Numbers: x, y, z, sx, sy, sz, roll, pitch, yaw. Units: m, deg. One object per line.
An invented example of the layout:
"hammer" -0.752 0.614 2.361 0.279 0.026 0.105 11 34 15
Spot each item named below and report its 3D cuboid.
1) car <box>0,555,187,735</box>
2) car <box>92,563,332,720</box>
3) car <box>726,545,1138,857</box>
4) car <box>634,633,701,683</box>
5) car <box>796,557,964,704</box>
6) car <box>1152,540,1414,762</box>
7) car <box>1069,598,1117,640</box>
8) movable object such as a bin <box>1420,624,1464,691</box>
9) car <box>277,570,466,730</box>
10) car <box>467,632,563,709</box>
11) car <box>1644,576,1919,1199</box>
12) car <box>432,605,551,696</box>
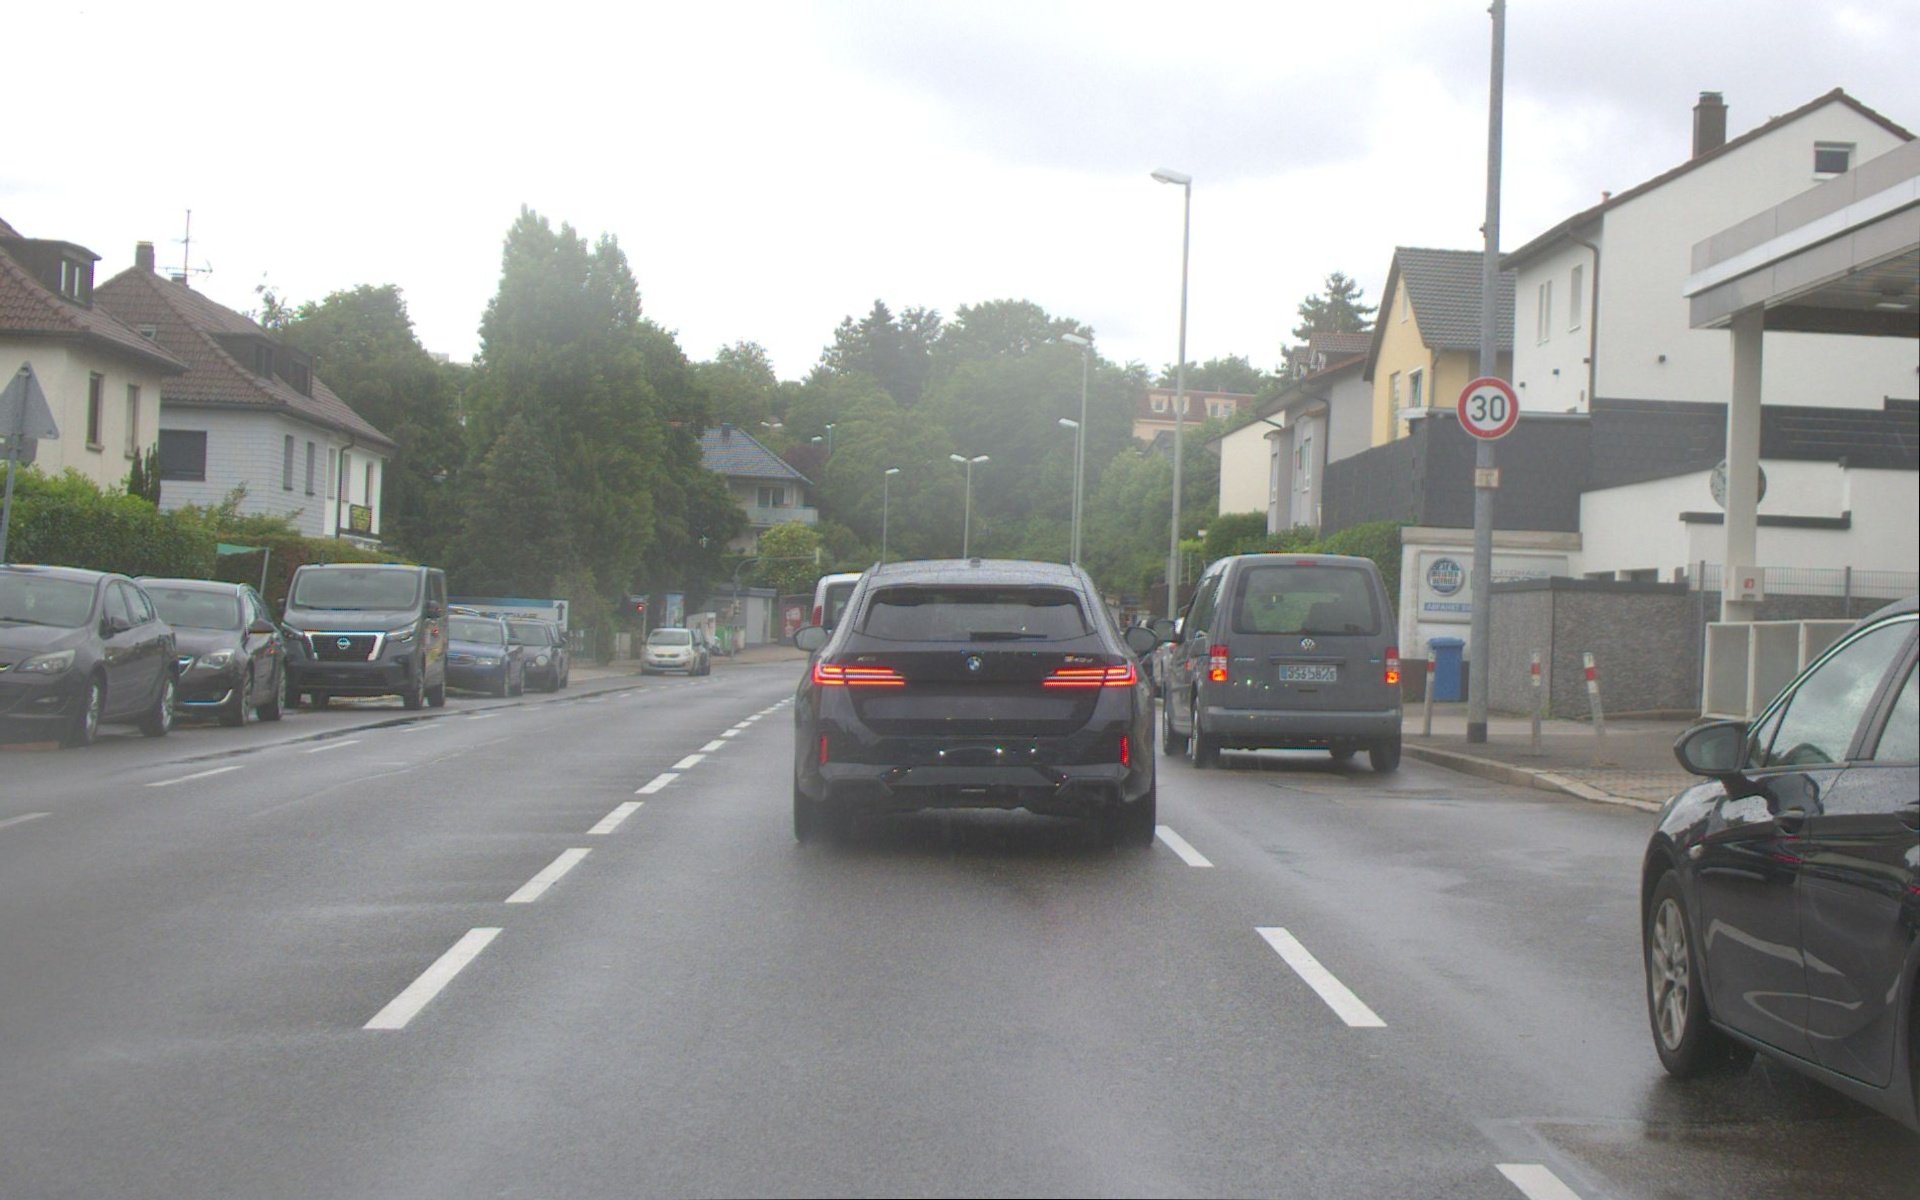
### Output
"car" -8.080 0.382 29.879 1.750 1.435 4.129 2 -1 0
"car" -7.848 0.449 36.439 1.750 1.512 4.528 2 -1 -3
"car" -0.139 0.532 18.971 1.993 1.479 4.000 2 -1 0
"car" -9.752 1.949 114.735 1.884 1.580 4.000 2 -1 -1
"car" -0.992 0.404 43.941 1.993 1.732 4.000 2 -1 0
"car" 2.755 0.453 30.146 1.838 1.761 4.000 2 -1 0
"car" 7.322 1.015 189.026 2.522 2.006 5.608 2 2 2
"movable object such as a bin" 8.047 0.957 57.398 0.595 1.101 0.667 -1 -1 -1
"car" -7.922 0.677 46.699 1.912 1.996 5.088 2 -1 -3
"car" -8.796 1.389 68.106 1.551 1.426 4.015 2 -1 -3
"car" 2.960 0.670 8.450 1.756 1.444 4.000 0 0 0
"car" -8.399 0.914 61.912 1.757 1.527 4.287 2 -1 -3
